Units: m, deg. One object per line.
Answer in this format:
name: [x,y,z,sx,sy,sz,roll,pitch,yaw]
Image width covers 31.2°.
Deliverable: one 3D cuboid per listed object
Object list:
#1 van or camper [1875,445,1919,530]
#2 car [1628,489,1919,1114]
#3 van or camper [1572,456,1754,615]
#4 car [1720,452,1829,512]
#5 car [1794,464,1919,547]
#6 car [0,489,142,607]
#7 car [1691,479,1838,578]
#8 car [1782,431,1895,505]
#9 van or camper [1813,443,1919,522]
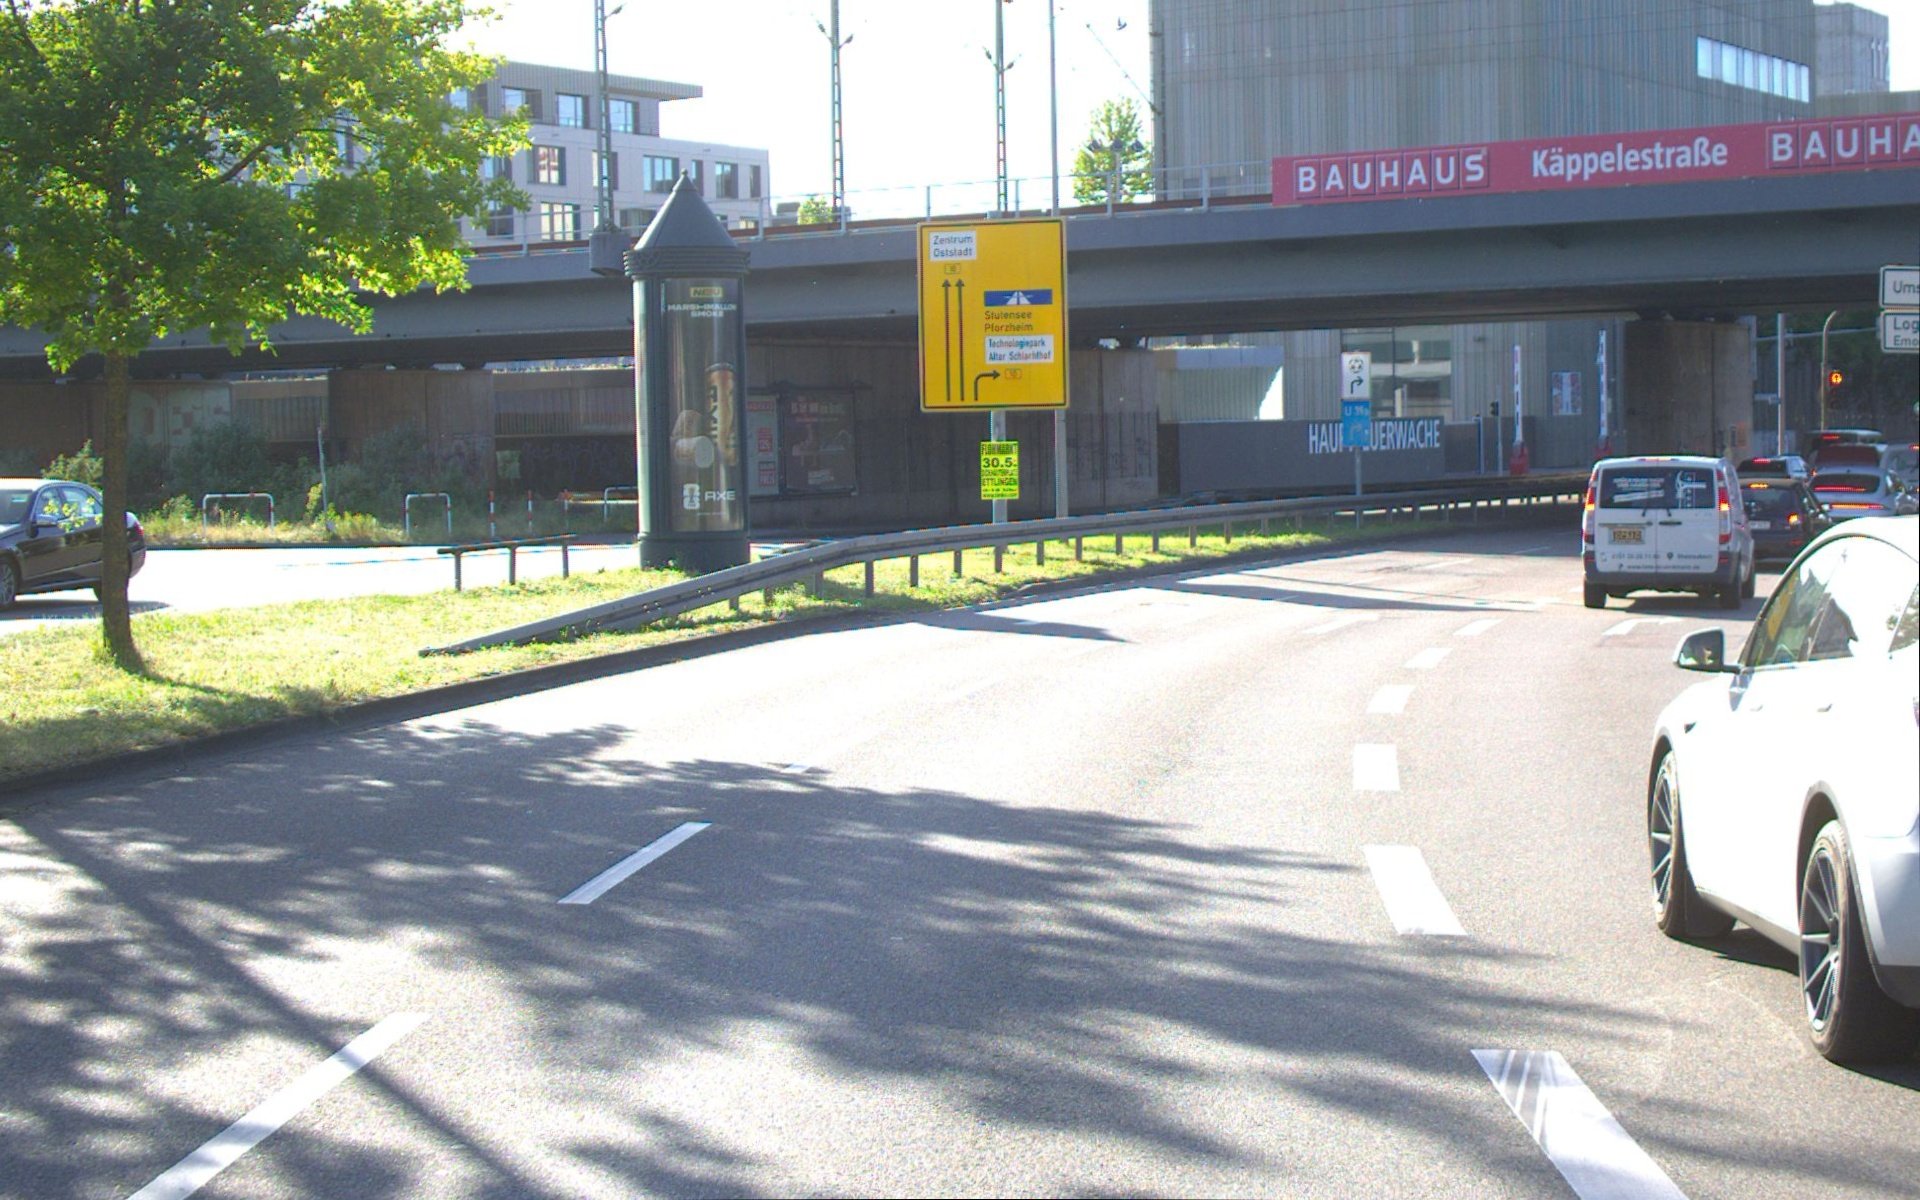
van or camper: [21.046,-2.445,73.971,1.828,1.784,4.539,2,3,25]
car: [3.504,0.543,11.165,1.914,1.635,4.410,2,1,2]
van or camper: [9.020,-0.875,43.831,1.960,1.877,4.877,0,3,15]
car: [20.514,-2.975,86.523,1.711,1.447,3.737,1,3,29]
car: [16.746,-1.773,63.947,1.765,1.470,4.284,0,2,22]
car: [-11.277,-0.624,39.634,1.801,1.305,4.613,1,2,12]
car: [12.871,-1.172,54.871,1.606,1.429,3.674,2,4,24]
car: [23.952,-3.613,93.637,1.869,1.940,4.589,1,3,29]
van or camper: [21.374,-2.784,80.951,1.756,1.807,3.954,1,3,25]
